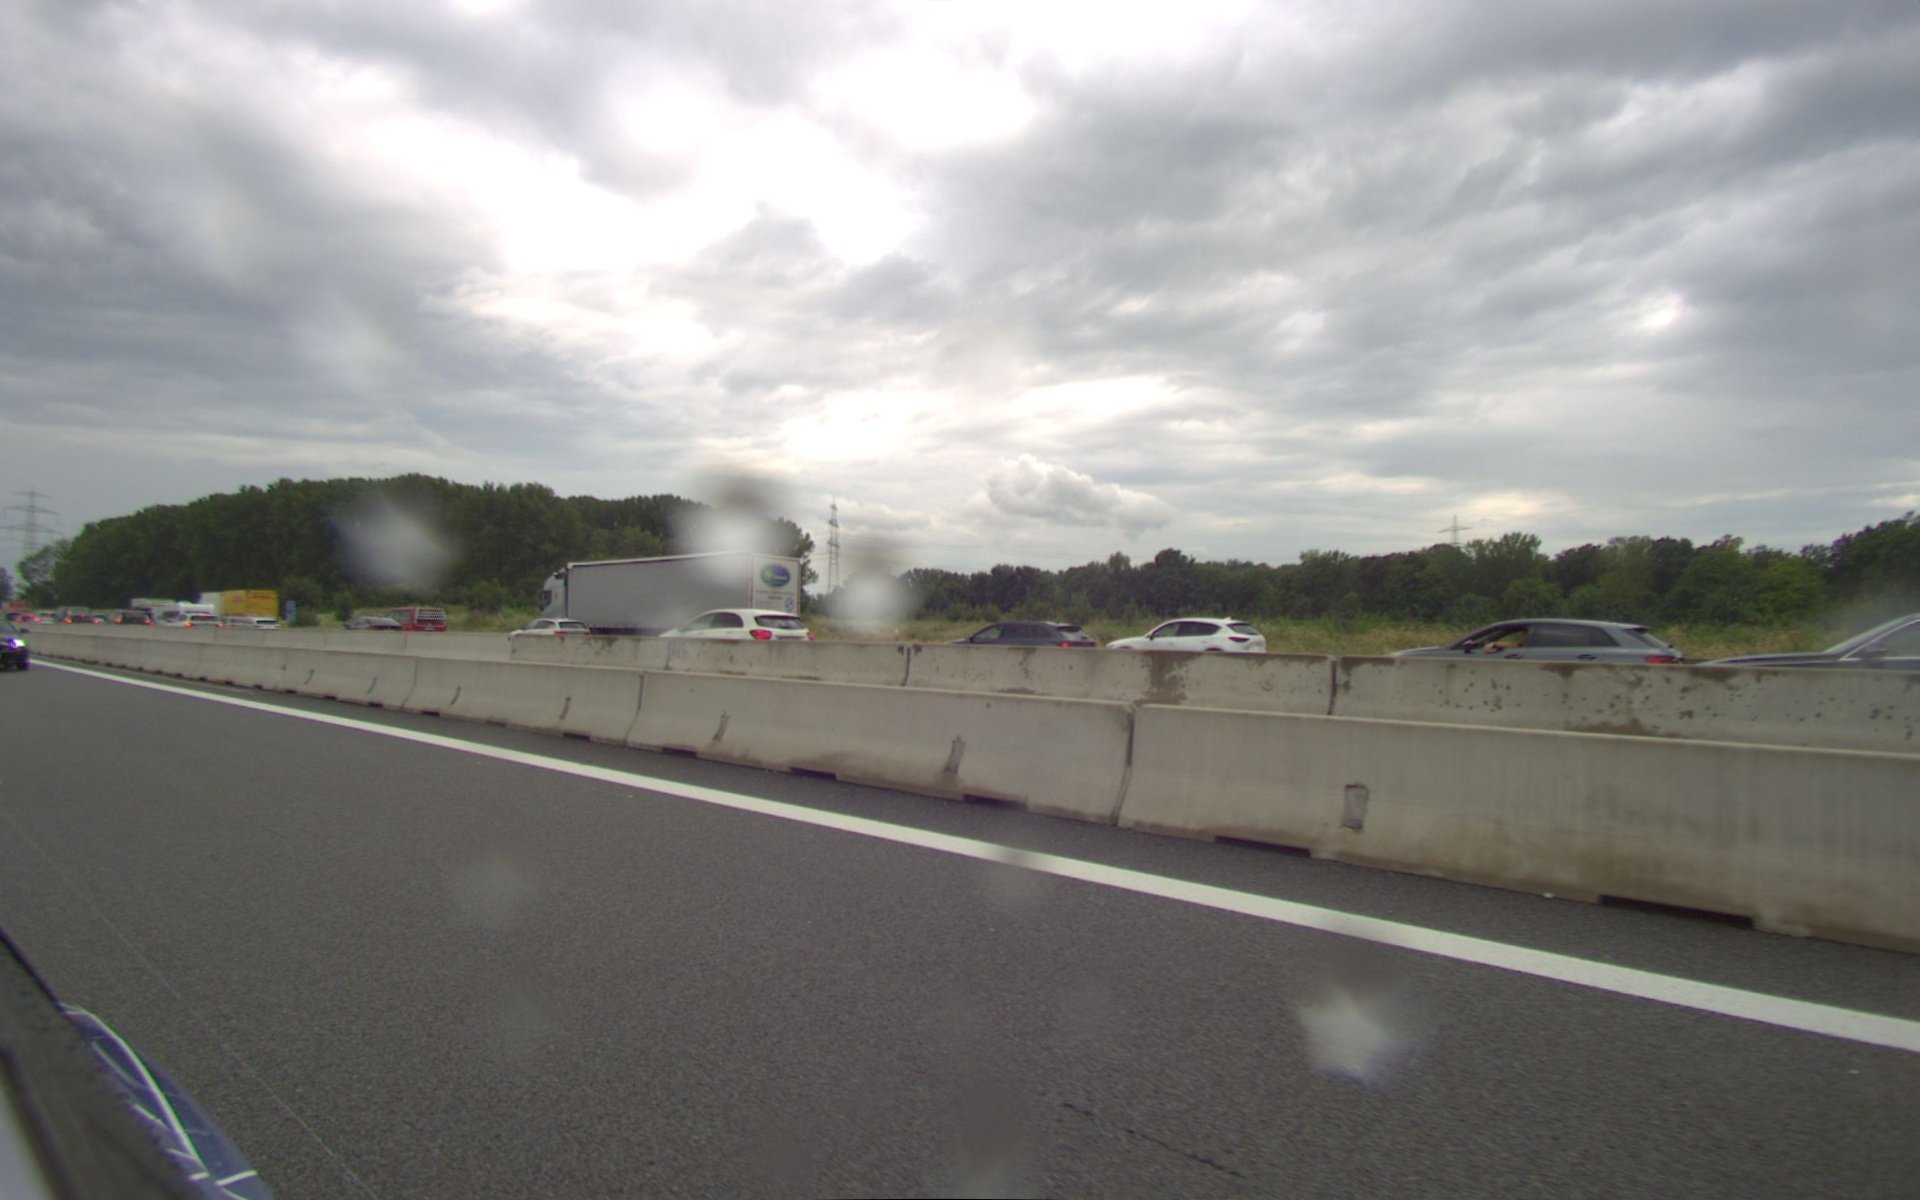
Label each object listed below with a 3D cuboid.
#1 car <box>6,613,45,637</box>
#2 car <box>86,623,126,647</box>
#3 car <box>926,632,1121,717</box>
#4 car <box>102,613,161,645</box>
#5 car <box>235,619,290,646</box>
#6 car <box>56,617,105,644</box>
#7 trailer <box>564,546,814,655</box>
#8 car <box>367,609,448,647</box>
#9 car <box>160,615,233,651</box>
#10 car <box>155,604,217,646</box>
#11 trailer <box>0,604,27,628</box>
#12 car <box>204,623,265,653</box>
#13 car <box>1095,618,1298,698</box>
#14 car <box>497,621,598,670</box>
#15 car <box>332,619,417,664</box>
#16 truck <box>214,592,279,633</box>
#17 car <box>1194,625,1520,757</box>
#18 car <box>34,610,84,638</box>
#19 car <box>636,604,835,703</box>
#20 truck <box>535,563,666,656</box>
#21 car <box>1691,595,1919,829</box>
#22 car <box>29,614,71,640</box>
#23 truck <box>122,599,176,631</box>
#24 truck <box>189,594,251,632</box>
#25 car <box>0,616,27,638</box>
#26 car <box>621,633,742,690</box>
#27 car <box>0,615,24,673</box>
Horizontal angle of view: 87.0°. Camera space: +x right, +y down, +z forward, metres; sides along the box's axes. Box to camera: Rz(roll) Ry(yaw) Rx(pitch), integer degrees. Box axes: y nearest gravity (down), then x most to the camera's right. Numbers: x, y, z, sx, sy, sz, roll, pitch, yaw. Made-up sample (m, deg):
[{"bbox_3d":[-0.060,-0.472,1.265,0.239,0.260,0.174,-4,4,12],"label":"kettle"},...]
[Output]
[{"bbox_3d":[-80.994,2.184,87.671,4.683,2.029,1.973,-1,-1,40],"label":"car"},{"bbox_3d":[-75.076,3.053,88.943,4.810,2.029,1.973,-1,-1,41],"label":"car"},{"bbox_3d":[1.533,1.800,25.828,4.758,1.887,1.973,-1,-1,41],"label":"car"},{"bbox_3d":[-49.881,1.734,60.882,4.670,1.795,1.973,-1,-1,41],"label":"car"},{"bbox_3d":[-47.237,2.203,68.477,4.696,1.727,1.973,-1,-1,41],"label":"car"},{"bbox_3d":[-60.454,2.072,69.554,3.997,1.763,1.973,-1,-1,41],"label":"car"},{"bbox_3d":[-12.086,0.114,43.579,13.800,4.059,3.205,-1,-1,41],"label":"trailer"},{"bbox_3d":[-28.735,1.433,52.579,5.390,1.887,1.973,-1,-1,41],"label":"car"},{"bbox_3d":[-38.638,1.623,51.144,4.868,1.727,1.973,-1,-1,41],"label":"car"},{"bbox_3d":[-62.572,1.990,81.744,6.556,3.302,2.634,-1,-1,40],"label":"car"},{"bbox_3d":[-157.719,2.662,168.208,9.154,3.791,2.831,-1,-2,40],"label":"trailer"},{"bbox_3d":[-43.876,2.248,61.149,4.696,1.727,1.973,-1,-1,41],"label":"car"},{"bbox_3d":[6.377,1.487,27.604,4.826,1.967,2.405,-1,-1,42],"label":"car"},{"bbox_3d":[-17.225,1.842,42.150,4.758,1.887,1.973,-1,-1,41],"label":"car"},{"bbox_3d":[-26.619,1.843,45.948,4.758,1.887,1.973,-1,-1,41],"label":"car"},{"bbox_3d":[-65.989,1.137,93.494,9.577,3.640,2.848,-1,-1,42],"label":"truck"},{"bbox_3d":[6.595,1.394,17.144,4.758,1.887,1.973,-1,-1,41],"label":"car"},{"bbox_3d":[-67.625,1.804,75.923,5.753,2.029,1.973,-1,-1,40],"label":"car"},{"bbox_3d":[-4.891,1.067,21.728,4.360,1.906,1.973,-1,-1,41],"label":"car"},{"bbox_3d":[-17.082,0.453,47.888,6.228,4.088,3.187,-1,-1,41],"label":"truck"},{"bbox_3d":[9.568,0.961,9.038,4.758,2.029,1.973,-1,-1,41],"label":"car"},{"bbox_3d":[-73.535,2.188,81.731,4.422,2.029,1.973,-1,-1,41],"label":"car"},{"bbox_3d":[-87.028,1.622,108.553,9.195,3.315,2.880,-1,-1,41],"label":"truck"},{"bbox_3d":[-73.017,1.279,99.732,10.308,3.640,2.848,-1,-1,42],"label":"truck"},{"bbox_3d":[-87.206,2.459,92.789,4.501,1.918,1.973,-1,-1,41],"label":"car"},{"bbox_3d":[-9.798,2.079,35.386,4.670,1.795,1.802,-1,-1,41],"label":"car"},{"bbox_3d":[-25.684,1.137,26.113,3.999,1.426,1.898,-2,-2,42],"label":"car"}]
